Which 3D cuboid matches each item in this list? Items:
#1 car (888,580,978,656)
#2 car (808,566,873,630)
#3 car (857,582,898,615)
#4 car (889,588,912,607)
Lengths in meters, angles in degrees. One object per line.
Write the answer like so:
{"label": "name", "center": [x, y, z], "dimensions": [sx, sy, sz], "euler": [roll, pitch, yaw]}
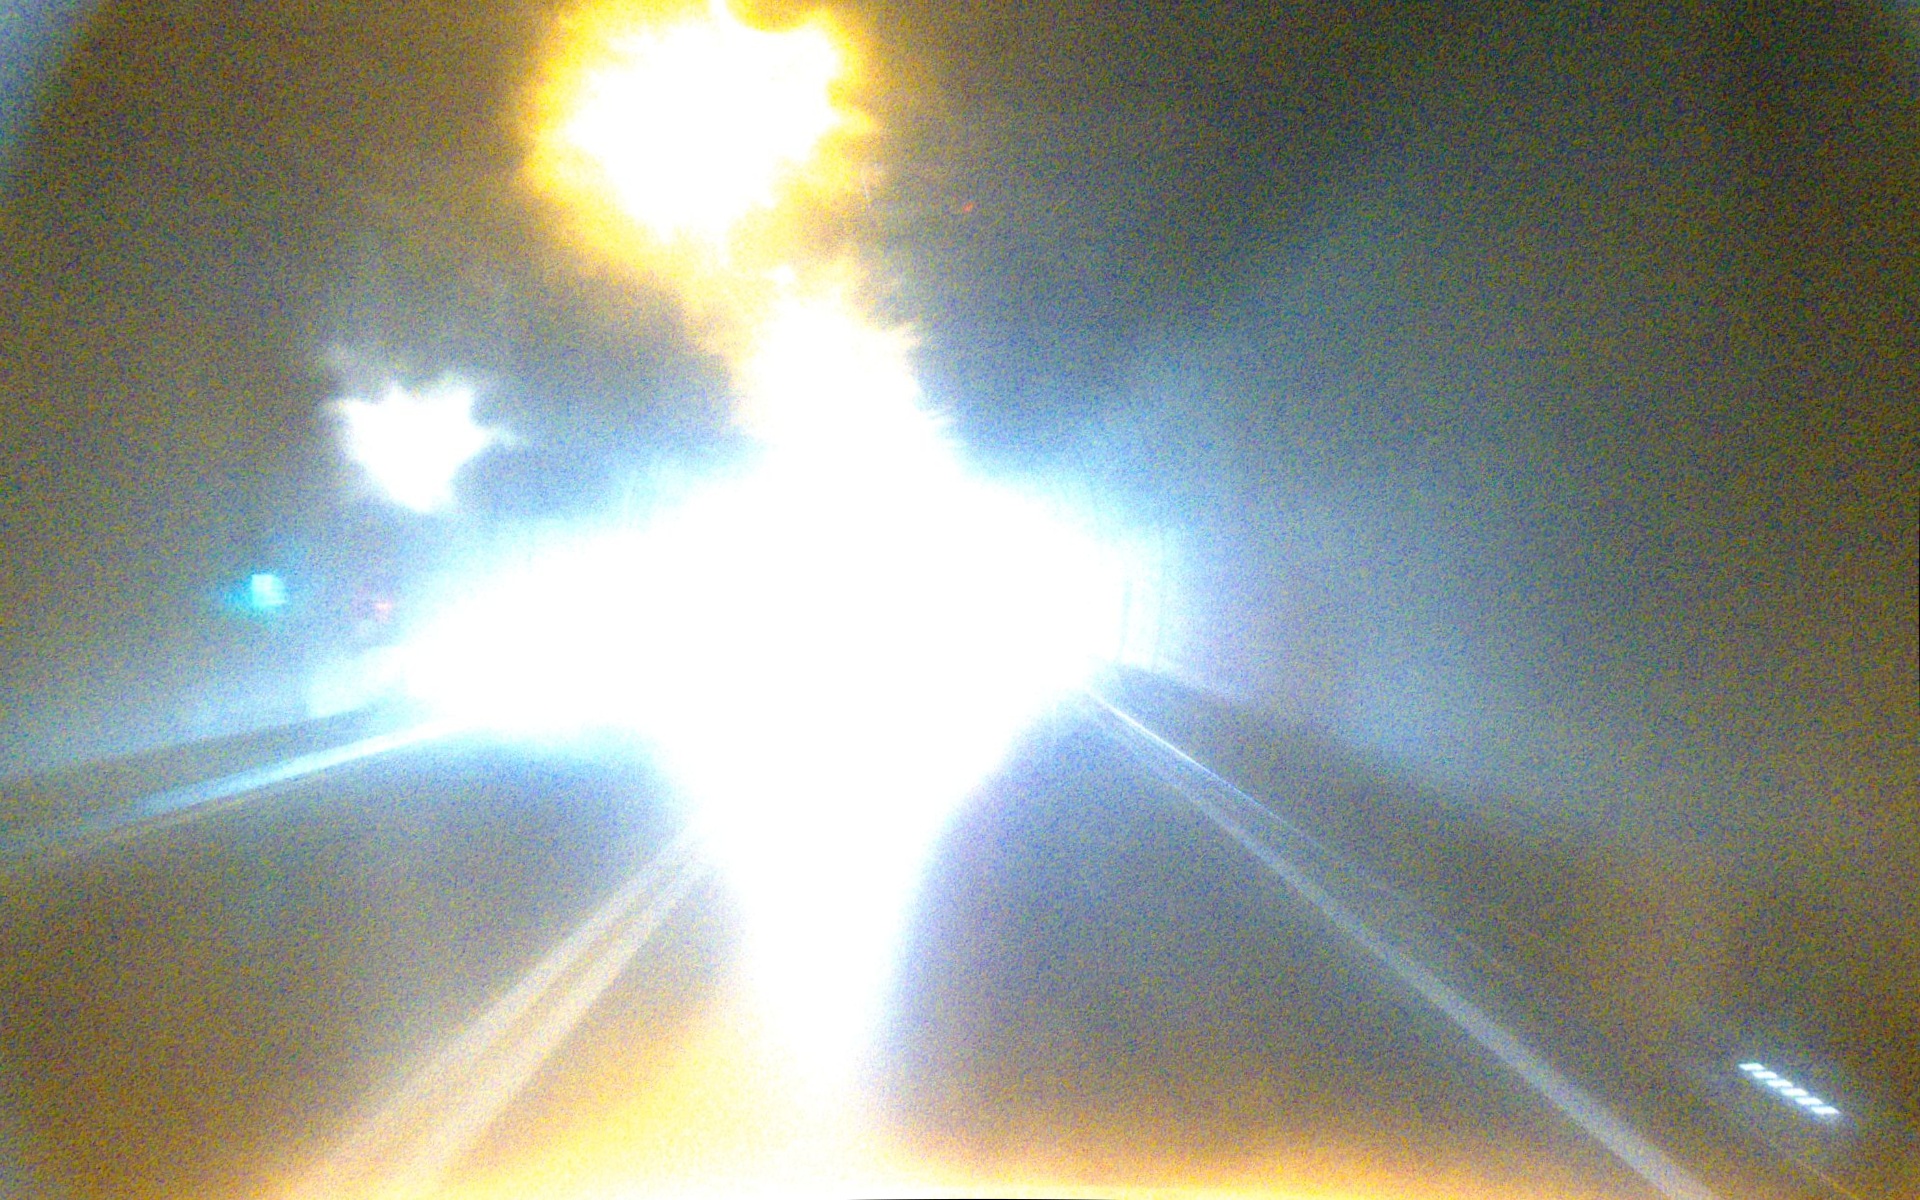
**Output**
{"label": "car", "center": [-0.640, 0.392, 39.436], "dimensions": [2.047, 1.691, 3.999], "euler": [0, 0, -1]}
{"label": "car", "center": [-3.977, -0.074, 55.585], "dimensions": [1.953, 2.049, 3.999], "euler": [0, 0, -1]}
{"label": "car", "center": [-4.290, -0.097, 86.442], "dimensions": [1.953, 1.680, 3.999], "euler": [0, 0, -1]}
{"label": "car", "center": [-4.067, -0.180, 113.938], "dimensions": [1.520, 1.266, 3.999], "euler": [0, 0, -1]}
